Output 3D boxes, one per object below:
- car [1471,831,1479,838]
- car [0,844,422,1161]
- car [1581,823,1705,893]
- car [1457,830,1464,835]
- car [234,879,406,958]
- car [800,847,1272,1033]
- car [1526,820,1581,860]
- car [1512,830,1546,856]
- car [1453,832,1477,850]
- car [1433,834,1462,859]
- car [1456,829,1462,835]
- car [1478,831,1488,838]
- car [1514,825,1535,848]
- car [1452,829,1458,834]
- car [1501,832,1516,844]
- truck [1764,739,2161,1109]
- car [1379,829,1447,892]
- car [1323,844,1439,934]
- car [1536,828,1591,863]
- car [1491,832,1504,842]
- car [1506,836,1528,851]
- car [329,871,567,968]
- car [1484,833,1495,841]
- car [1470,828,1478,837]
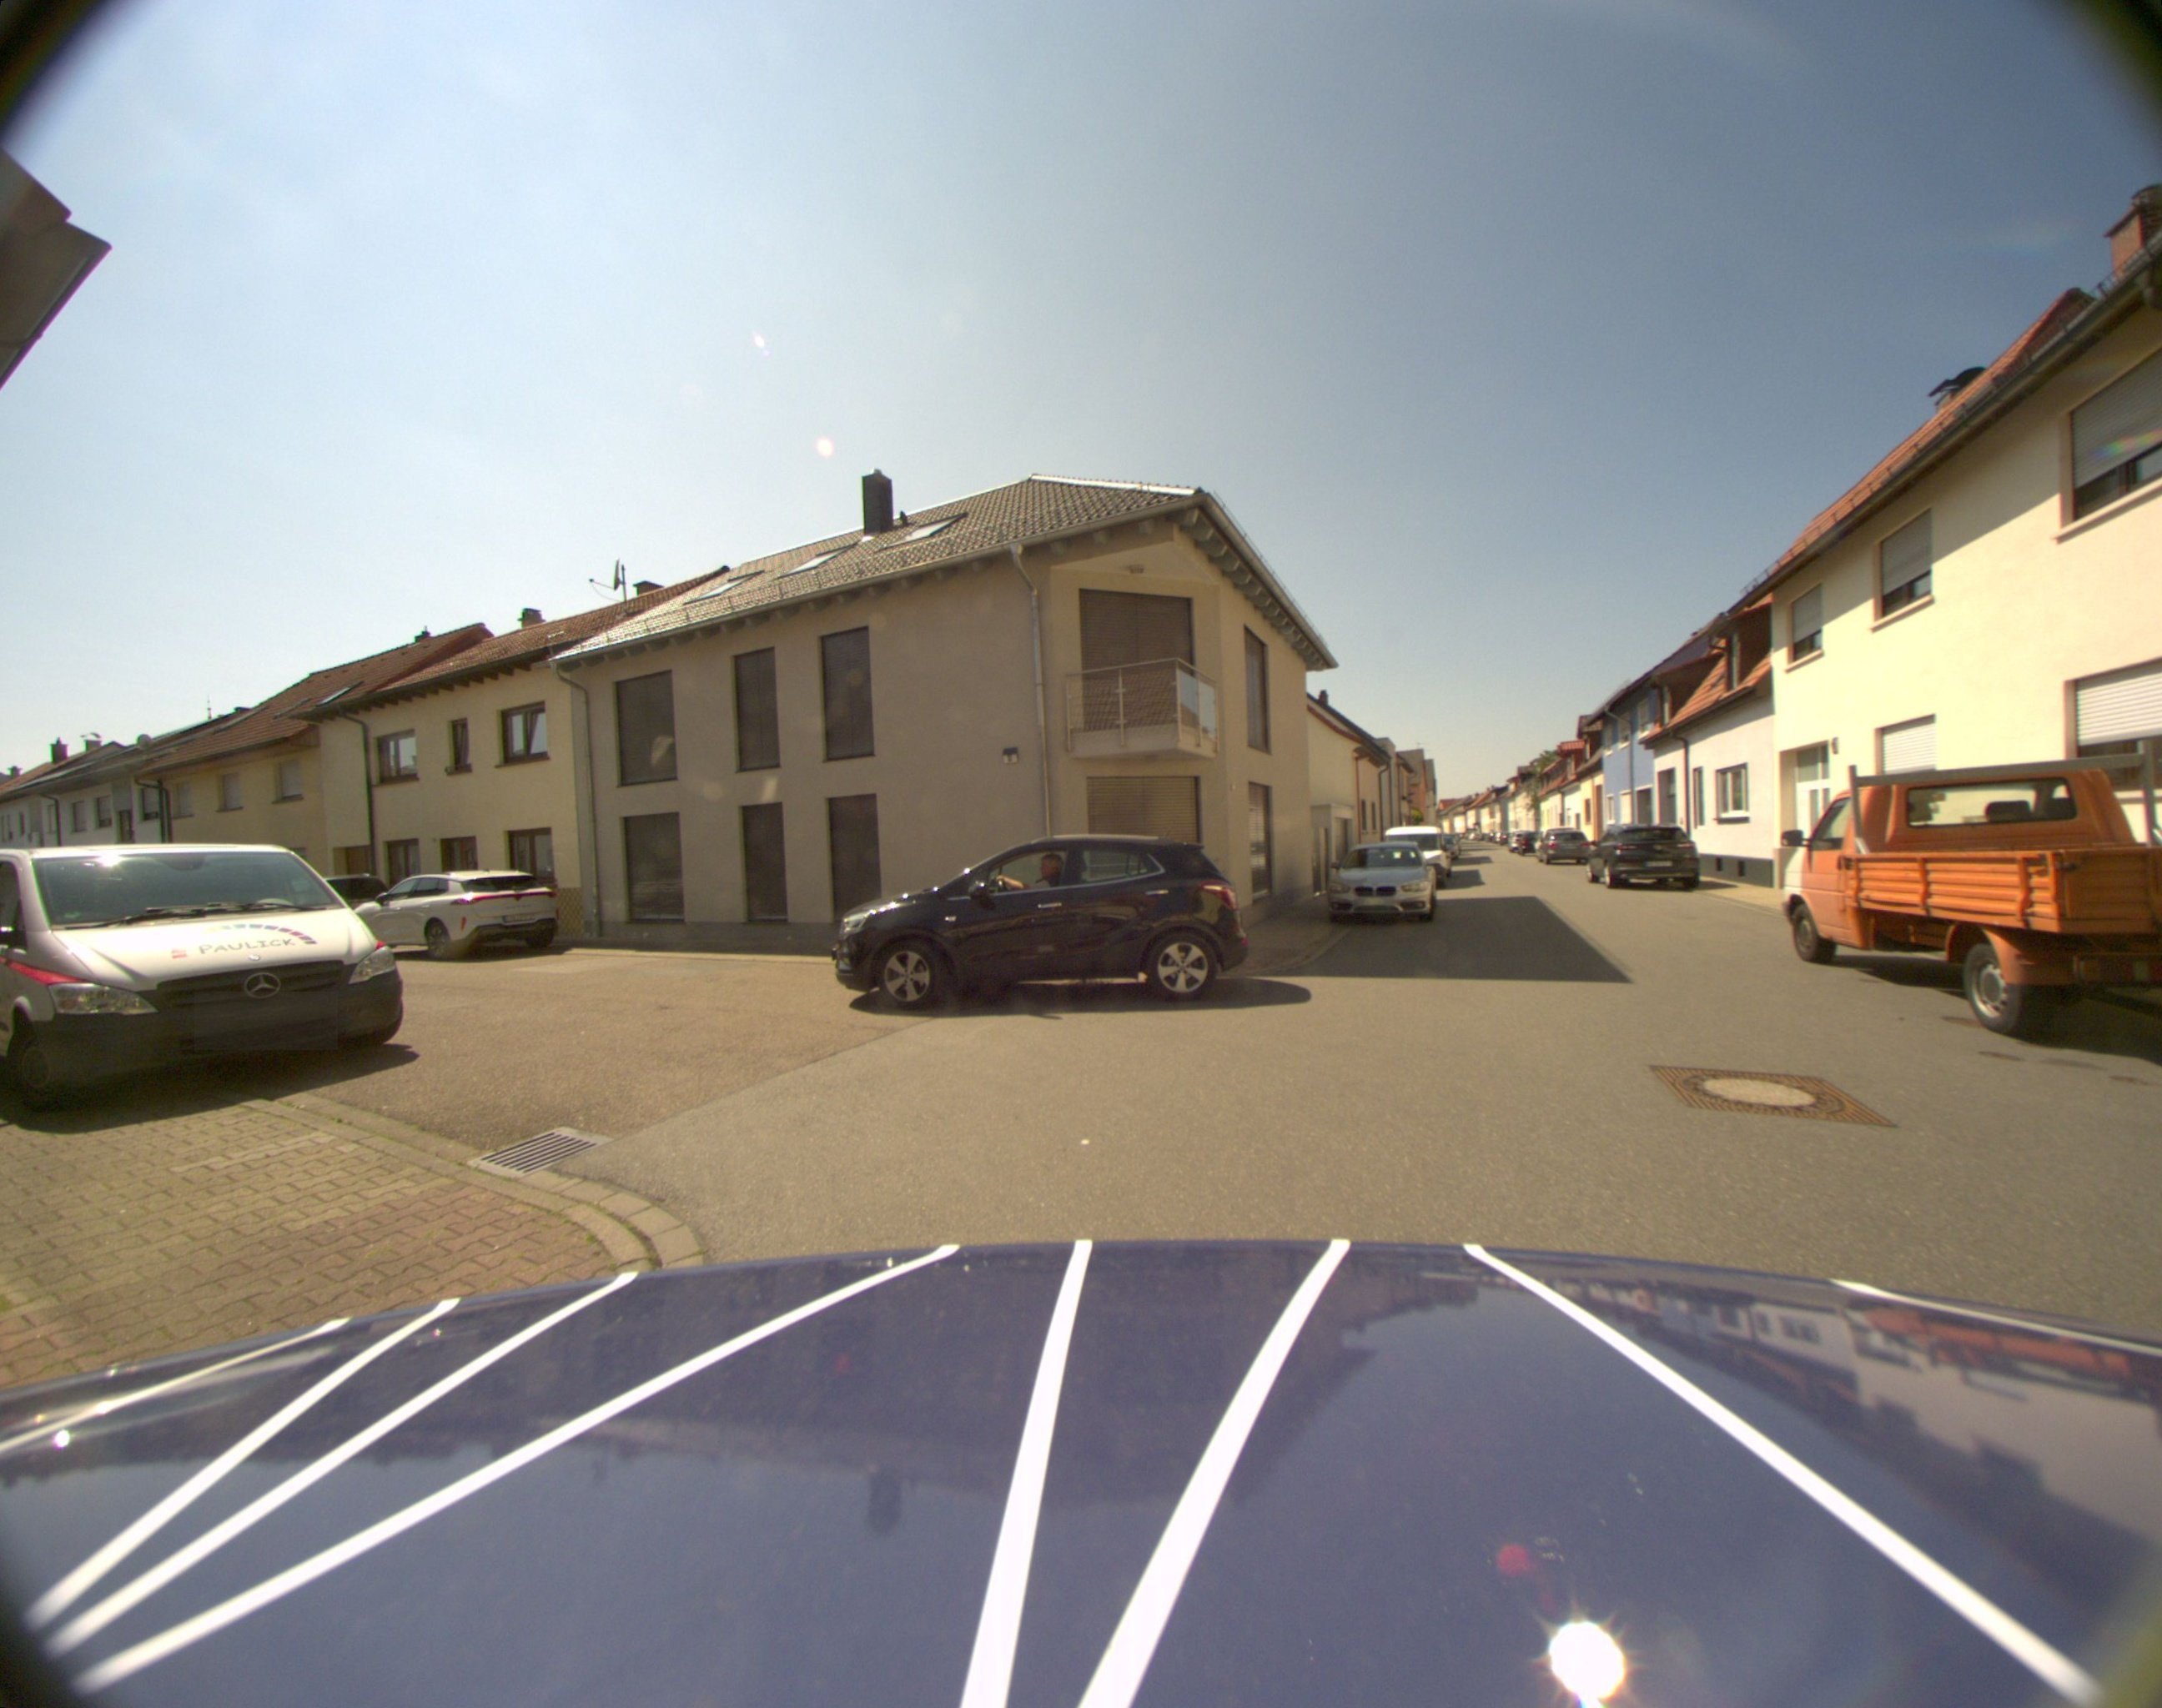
[{"bbox_3d":[74.009,-3.712,142.579,1.293,1.177,2.968,-1,1,27],"label":"car"},{"bbox_3d":[-8.369,0.966,6.620,5.252,1.828,2.022,-2,2,27],"label":"car"},{"bbox_3d":[14.356,0.068,19.661,1.846,1.605,4.006,-1,1,26],"label":"car"},{"bbox_3d":[85.774,-4.878,171.720,1.293,1.177,2.968,-1,1,27],"label":"car"},{"bbox_3d":[-17.760,1.443,17.707,3.979,1.606,1.731,-2,0,29],"label":"car"},{"bbox_3d":[-0.416,0.785,7.850,4.278,1.573,1.762,-1,0,-2],"label":"car"},{"bbox_3d":[26.194,-0.806,42.233,1.995,2.003,4.005,-1,3,23],"label":"car"},{"bbox_3d":[29.580,-0.753,50.247,1.674,1.565,4.115,-1,1,27],"label":"car"},{"bbox_3d":[34.384,-1.204,68.156,1.846,1.523,3.554,-1,1,26],"label":"car"},{"bbox_3d":[22.587,-0.487,46.891,1.519,1.417,3.870,-1,1,26],"label":"car"},{"bbox_3d":[89.362,-5.205,179.464,1.293,1.177,2.968,-1,1,27],"label":"car"},{"bbox_3d":[67.343,-3.287,127.282,1.293,1.177,2.968,-1,1,27],"label":"car"},{"bbox_3d":[36.726,-1.445,62.970,1.293,1.820,2.968,-1,1,27],"label":"car"},{"bbox_3d":[93.582,-5.554,190.052,1.293,1.177,2.968,-1,1,27],"label":"car"},{"bbox_3d":[46.418,-1.766,82.452,1.293,1.177,2.968,-1,1,27],"label":"car"},{"bbox_3d":[7.672,0.267,5.993,2.184,2.002,5.087,-1,2,27],"label":"truck"},{"bbox_3d":[9.968,0.145,22.680,1.681,1.720,3.792,-1,1,26],"label":"car"},{"bbox_3d":[5.835,0.583,14.506,1.635,1.360,3.934,-4,1,27],"label":"car"},{"bbox_3d":[22.215,-0.407,35.104,1.721,1.493,4.221,-1,1,27],"label":"car"},{"bbox_3d":[50.930,-2.097,92.905,1.293,1.177,2.968,-1,1,27],"label":"car"},{"bbox_3d":[32.389,-0.801,56.502,1.293,1.070,2.769,-1,1,27],"label":"car"},{"bbox_3d":[-12.243,1.203,14.682,4.338,1.606,1.783,-2,0,25],"label":"car"},{"bbox_3d":[57.477,-2.388,106.847,1.293,1.177,2.968,-1,1,27],"label":"car"},{"bbox_3d":[78.173,-4.248,151.137,1.293,1.684,2.968,-1,1,25],"label":"car"}]
